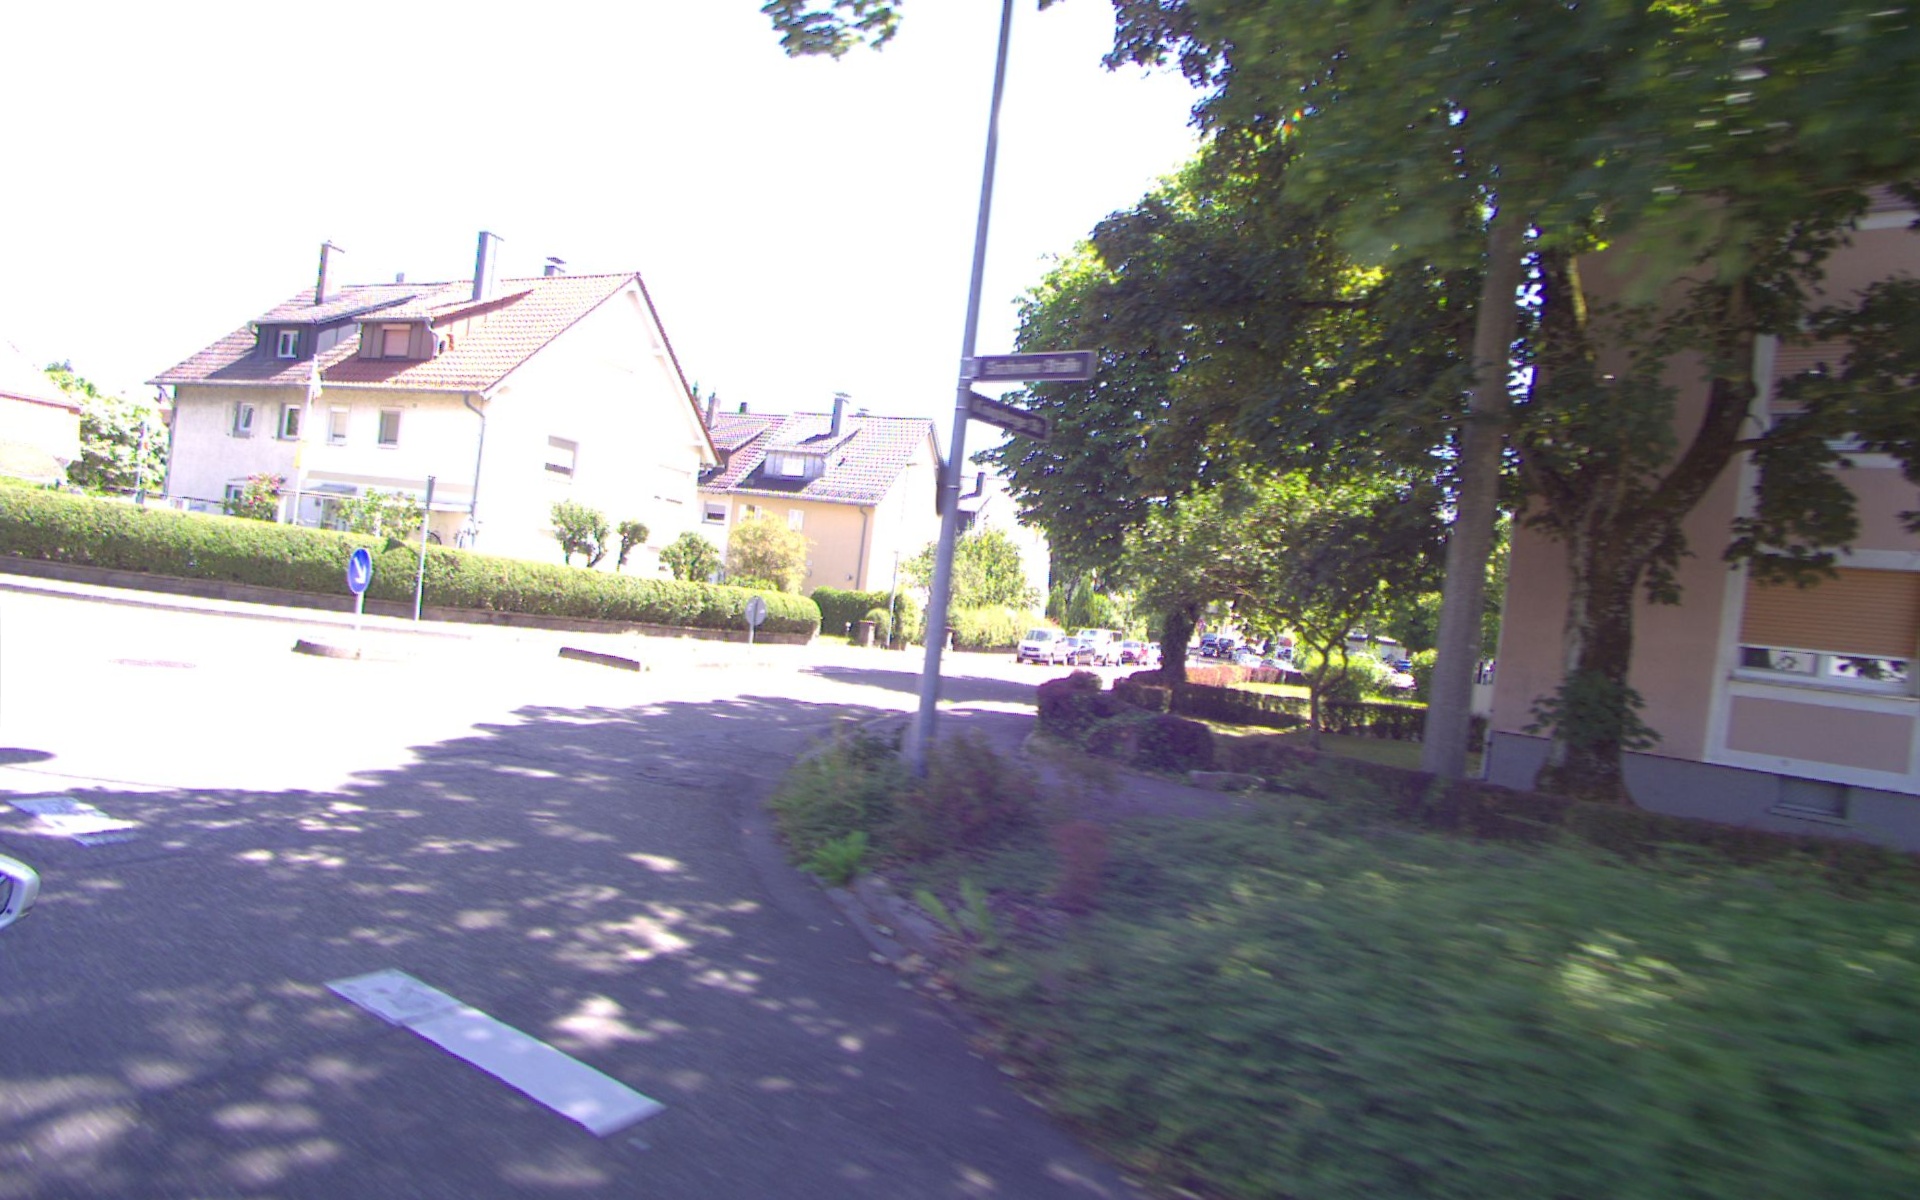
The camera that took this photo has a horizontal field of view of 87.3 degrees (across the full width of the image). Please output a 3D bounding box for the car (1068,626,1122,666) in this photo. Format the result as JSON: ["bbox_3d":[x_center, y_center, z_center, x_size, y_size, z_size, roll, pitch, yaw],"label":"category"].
[{"bbox_3d":[7.310,2.525,54.276,1.678,1.846,3.851,7,-1,24],"label":"car"}]

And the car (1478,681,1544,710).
[{"bbox_3d":[39.291,6.793,71.720,3.795,1.455,1.703,7,0,38],"label":"car"}]

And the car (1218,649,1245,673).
[{"bbox_3d":[25.964,5.816,96.084,1.963,2.038,4.001,7,-1,19],"label":"car"}]

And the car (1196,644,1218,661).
[{"bbox_3d":[24.597,5.204,100.154,1.677,1.455,3.854,7,-1,19],"label":"car"}]

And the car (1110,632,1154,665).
[{"bbox_3d":[10.977,3.111,64.164,1.678,1.846,3.851,7,-1,24],"label":"car"}]

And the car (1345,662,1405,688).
[{"bbox_3d":[32.029,5.769,77.724,1.696,1.456,3.812,7,-1,-39],"label":"car"}]

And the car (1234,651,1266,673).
[{"bbox_3d":[22.417,4.789,77.749,1.679,1.455,3.851,7,-1,24],"label":"car"}]

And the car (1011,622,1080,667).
[{"bbox_3d":[3.922,2.050,45.751,1.679,1.651,3.850,9,0,26],"label":"car"}]
